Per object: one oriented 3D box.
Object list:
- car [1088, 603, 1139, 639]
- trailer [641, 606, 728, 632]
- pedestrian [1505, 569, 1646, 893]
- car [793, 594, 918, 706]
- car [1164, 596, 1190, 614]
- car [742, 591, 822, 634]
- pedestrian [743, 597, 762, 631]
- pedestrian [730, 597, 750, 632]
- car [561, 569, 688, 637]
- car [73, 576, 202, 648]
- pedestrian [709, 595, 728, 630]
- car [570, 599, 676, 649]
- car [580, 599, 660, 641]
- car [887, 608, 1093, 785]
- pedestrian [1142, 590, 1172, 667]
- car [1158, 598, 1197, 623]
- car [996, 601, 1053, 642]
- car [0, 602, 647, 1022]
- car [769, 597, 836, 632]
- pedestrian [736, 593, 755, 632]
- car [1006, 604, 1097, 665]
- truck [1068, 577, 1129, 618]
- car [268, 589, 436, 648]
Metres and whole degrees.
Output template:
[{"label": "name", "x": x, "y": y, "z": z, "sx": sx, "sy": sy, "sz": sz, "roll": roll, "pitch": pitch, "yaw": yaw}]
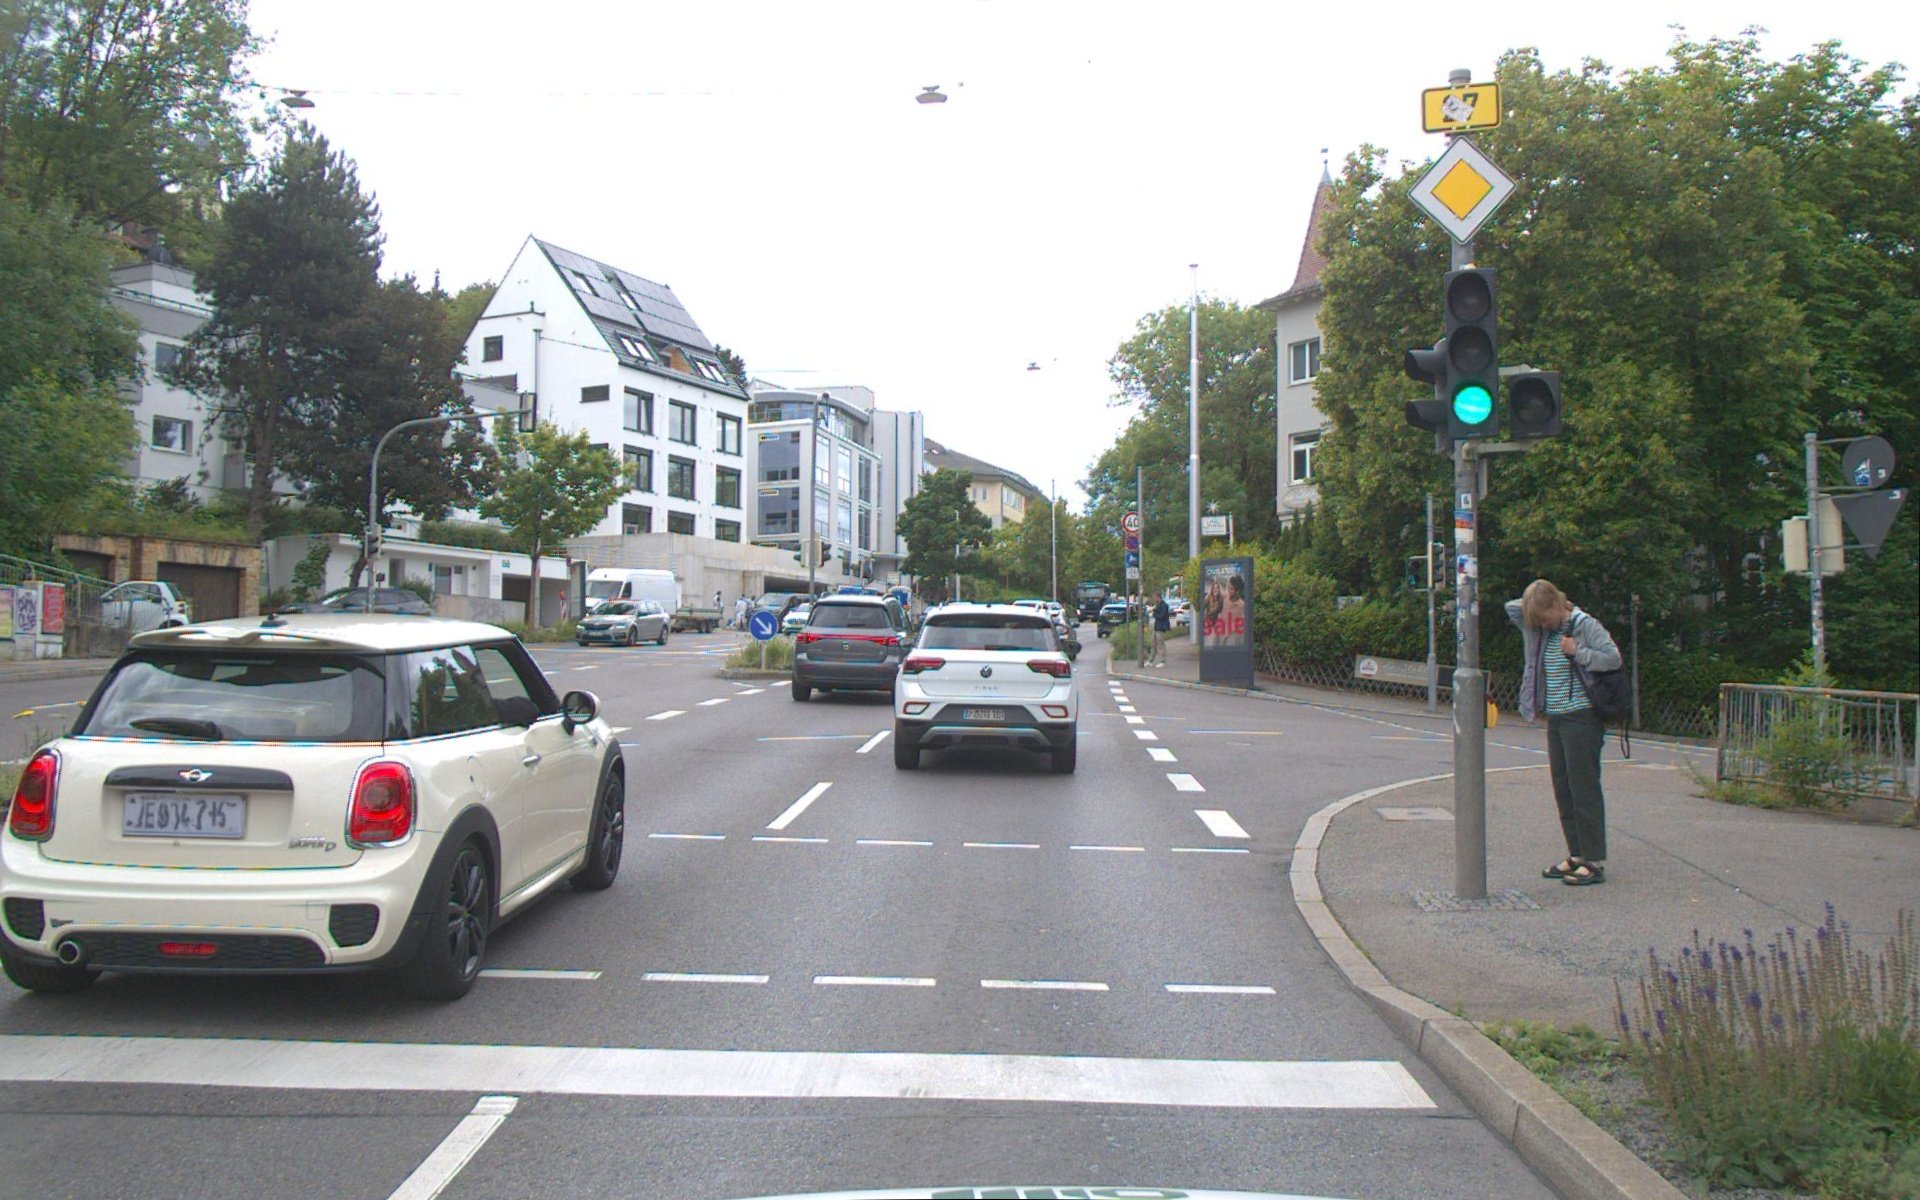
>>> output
[{"label": "car", "x": 7.165, "y": 0.971, "z": 76.864, "sx": 1.833, "sy": 1.527, "sz": 4.558, "roll": 3, "pitch": 0, "yaw": 12}, {"label": "trailer", "x": -12.212, "y": 0.822, "z": 73.598, "sx": 2.198, "sy": 1.131, "sz": 4.626, "roll": 0, "pitch": 0, "yaw": 13}, {"label": "pedestrian", "x": 3.409, "y": 0.705, "z": 9.196, "sx": 0.678, "sy": 1.718, "sz": 0.620, "roll": -1, "pitch": -1, "yaw": 19}, {"label": "car", "x": -1.625, "y": 0.757, "z": 27.160, "sx": 1.776, "sy": 1.681, "sz": 4.635, "roll": 0, "pitch": 0, "yaw": 0}, {"label": "car", "x": 19.013, "y": 0.441, "z": 144.623, "sx": 1.660, "sy": 1.523, "sz": 4.489, "roll": 1, "pitch": 0, "yaw": 15}, {"label": "car", "x": -8.694, "y": 0.600, "z": 81.336, "sx": 1.941, "sy": 2.001, "sz": 5.220, "roll": 0, "pitch": 0, "yaw": 18}, {"label": "pedestrian", "x": -10.309, "y": 0.695, "z": 82.270, "sx": 0.668, "sy": 1.669, "sz": 0.664, "roll": 2, "pitch": 0, "yaw": -35}, {"label": "pedestrian", "x": -10.651, "y": 0.695, "z": 80.048, "sx": 0.668, "sy": 1.669, "sz": 0.664, "roll": 2, "pitch": 0, "yaw": -35}, {"label": "car", "x": -13.617, "y": 0.113, "z": 67.749, "sx": 2.184, "sy": 2.613, "sz": 7.428, "roll": 0, "pitch": 0, "yaw": 13}, {"label": "car", "x": -19.944, "y": 0.300, "z": 40.174, "sx": 2.669, "sy": 1.547, "sz": 1.551, "roll": 4, "pitch": -2, "yaw": -26}, {"label": "pedestrian", "x": -11.670, "y": 0.595, "z": 79.868, "sx": 0.613, "sy": 1.669, "sz": 0.672, "roll": 2, "pitch": 0, "yaw": 20}, {"label": "car", "x": -10.533, "y": 0.729, "z": 52.057, "sx": 1.616, "sy": 1.474, "sz": 4.571, "roll": 1, "pitch": 0, "yaw": 11}, {"label": "car", "x": -12.546, "y": 0.707, "z": 61.252, "sx": 1.587, "sy": 1.491, "sz": 3.930, "roll": 0, "pitch": 0, "yaw": 9}, {"label": "car", "x": 0.192, "y": 0.869, "z": 16.716, "sx": 1.776, "sy": 1.566, "sz": 3.686, "roll": 0, "pitch": 0, "yaw": -4}, {"label": "pedestrian", "x": 4.926, "y": 0.709, "z": 41.342, "sx": 0.678, "sy": 1.866, "sz": 0.620, "roll": 2, "pitch": -1, "yaw": 5}, {"label": "car", "x": 13.621, "y": 0.633, "z": 103.477, "sx": 1.818, "sy": 1.527, "sz": 4.058, "roll": 0, "pitch": 0, "yaw": 16}, {"label": "car", "x": 2.747, "y": 0.875, "z": 69.569, "sx": 1.818, "sy": 1.681, "sz": 4.640, "roll": 0, "pitch": 0, "yaw": 9}, {"label": "car", "x": -2.584, "y": 0.724, "z": 7.392, "sx": 1.594, "sy": 1.418, "sz": 3.567, "roll": 0, "pitch": 0, "yaw": 2}, {"label": "car", "x": -6.928, "y": 0.650, "z": 73.066, "sx": 1.616, "sy": 1.417, "sz": 4.147, "roll": 3, "pitch": 0, "yaw": 14}, {"label": "pedestrian", "x": -10.528, "y": 0.603, "z": 81.189, "sx": 0.668, "sy": 1.872, "sz": 0.664, "roll": 2, "pitch": 0, "yaw": -35}, {"label": "car", "x": 2.648, "y": 0.969, "z": 46.876, "sx": 1.833, "sy": 1.527, "sz": 4.558, "roll": 3, "pitch": 0, "yaw": 12}, {"label": "truck", "x": 10.748, "y": -0.168, "z": 127.683, "sx": 2.898, "sy": 3.023, "sz": 8.983, "roll": 1, "pitch": 0, "yaw": 16}, {"label": "car", "x": -16.743, "y": 0.498, "z": 45.675, "sx": 4.101, "sy": 1.567, "sz": 1.573, "roll": 0, "pitch": 0, "yaw": -44}]
